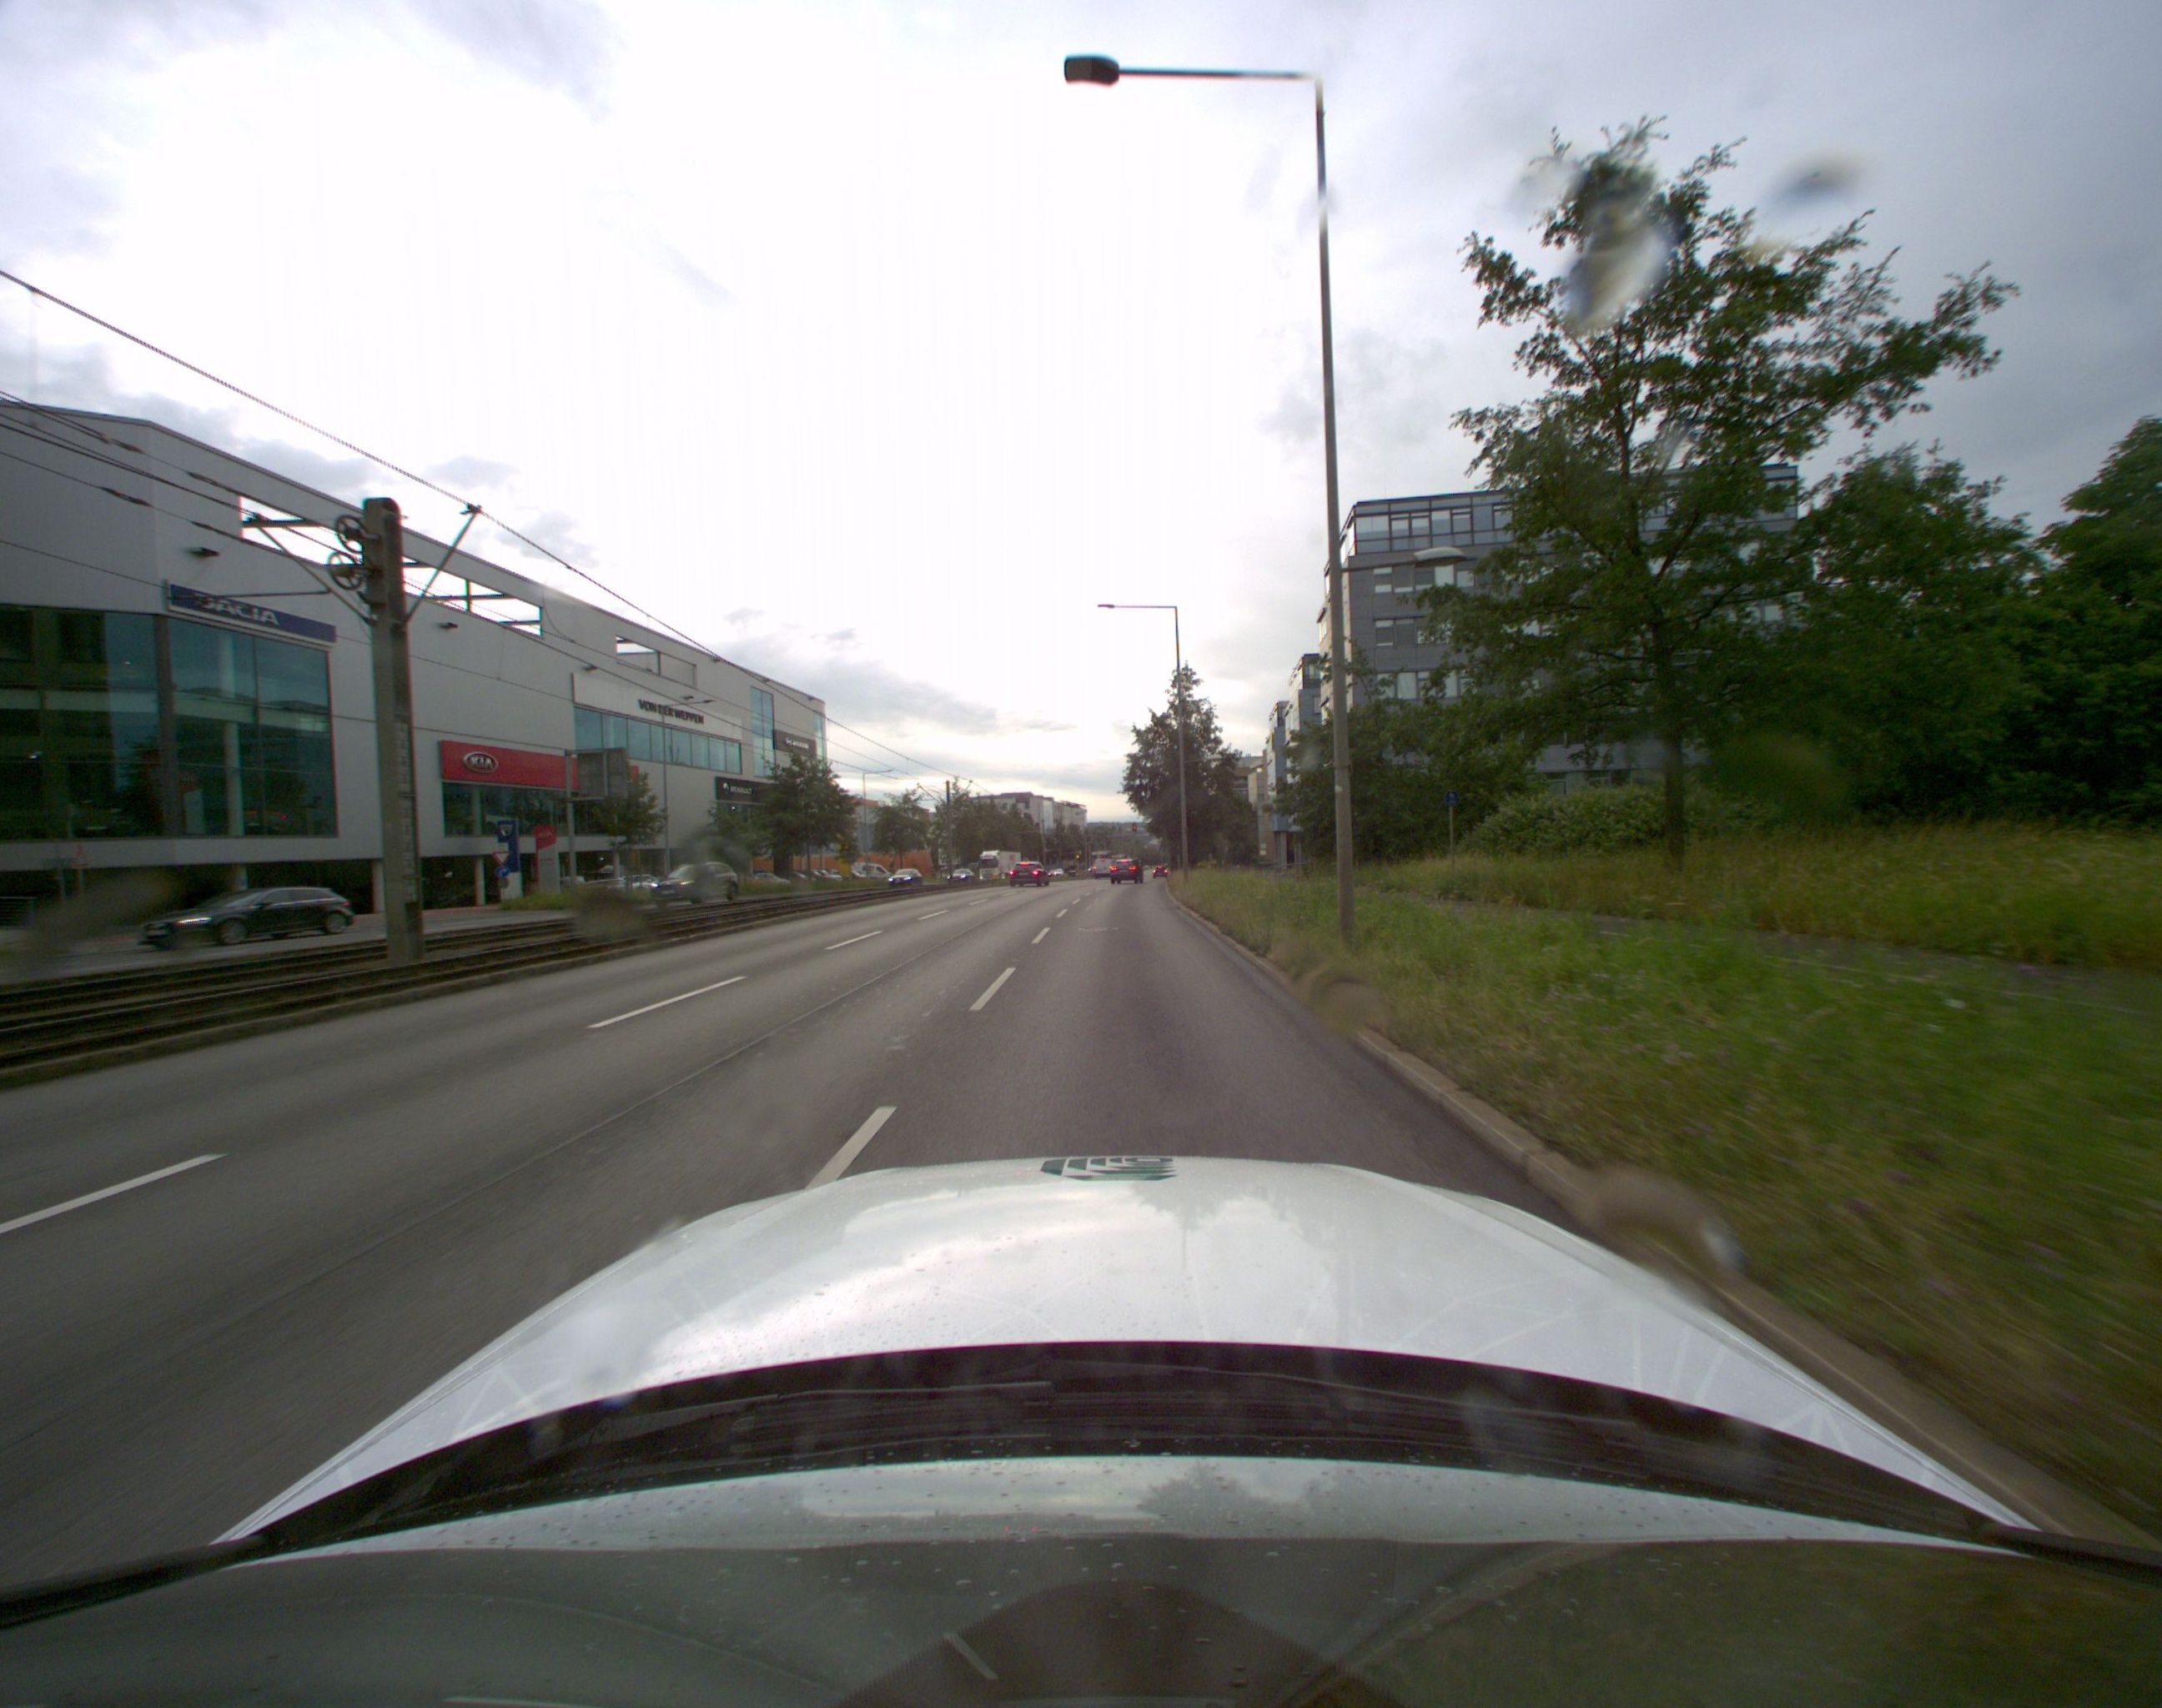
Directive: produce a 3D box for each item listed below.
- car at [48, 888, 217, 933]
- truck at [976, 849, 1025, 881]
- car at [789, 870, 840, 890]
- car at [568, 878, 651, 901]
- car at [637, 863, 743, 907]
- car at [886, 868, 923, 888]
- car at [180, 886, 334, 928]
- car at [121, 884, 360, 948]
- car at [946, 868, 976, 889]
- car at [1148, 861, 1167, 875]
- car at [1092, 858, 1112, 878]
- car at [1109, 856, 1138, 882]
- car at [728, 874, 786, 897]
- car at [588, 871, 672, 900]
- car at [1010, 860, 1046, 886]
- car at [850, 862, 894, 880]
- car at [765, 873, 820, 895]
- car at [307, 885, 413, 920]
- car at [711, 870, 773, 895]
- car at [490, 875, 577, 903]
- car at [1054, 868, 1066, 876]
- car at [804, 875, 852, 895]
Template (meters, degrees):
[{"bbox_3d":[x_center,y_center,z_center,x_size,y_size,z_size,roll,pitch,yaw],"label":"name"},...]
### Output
[{"bbox_3d":[-43.818,2.539,37.832,1.987,1.792,4.940,0,-1,1],"label":"car"},{"bbox_3d":[-11.003,1.495,113.974,3.025,4.181,17.236,-1,0,7],"label":"truck"},{"bbox_3d":[-27.937,2.713,85.356,4.587,1.976,2.019,-2,-1,-1],"label":"car"},{"bbox_3d":[-30.281,2.262,52.422,4.339,1.307,1.858,-1,-2,-22],"label":"car"},{"bbox_3d":[-15.273,1.194,32.096,1.797,1.616,4.390,-1,-2,4],"label":"car"},{"bbox_3d":[-13.633,1.880,63.129,1.660,1.462,4.243,-1,-2,5],"label":"car"},{"bbox_3d":[-38.181,2.412,37.975,1.985,1.725,4.943,0,-1,3],"label":"car"},{"bbox_3d":[-21.739,1.551,21.361,1.660,1.462,4.242,-1,-2,4],"label":"car"},{"bbox_3d":[-11.796,2.444,80.486,2.005,1.976,4.620,-1,-2,4],"label":"car"},{"bbox_3d":[9.319,1.735,98.997,1.784,1.591,3.997,-2,-1,-2],"label":"car"},{"bbox_3d":[2.465,1.587,93.916,2.259,2.285,4.761,0,0,1],"label":"car"},{"bbox_3d":[2.949,0.986,56.113,1.914,1.710,4.101,0,0,3],"label":"car"},{"bbox_3d":[-29.608,2.876,74.568,4.600,1.976,2.014,-1,-2,-9],"label":"car"},{"bbox_3d":[-31.004,2.156,56.146,4.630,1.827,2.010,-1,-2,-15],"label":"car"},{"bbox_3d":[-3.044,1.072,47.517,1.780,1.414,4.805,-1,0,0],"label":"car"},{"bbox_3d":[-26.760,2.156,104.357,5.307,2.313,2.011,0,-2,-12],"label":"car"},{"bbox_3d":[-28.494,2.928,80.539,4.587,1.976,2.019,-2,-1,-1],"label":"car"},{"bbox_3d":[-43.842,2.890,49.702,1.987,1.910,4.940,0,-1,1],"label":"car"},{"bbox_3d":[-28.824,2.390,69.381,4.609,1.976,2.010,-1,-2,-15],"label":"car"},{"bbox_3d":[-36.156,2.290,53.910,4.653,1.664,2.000,-1,-2,-31],"label":"car"},{"bbox_3d":[-4.004,3.478,154.729,1.653,1.442,3.904,-1,-2,8],"label":"car"},{"bbox_3d":[-27.745,3.358,89.265,4.587,1.976,2.019,-2,-1,-1],"label":"car"}]
